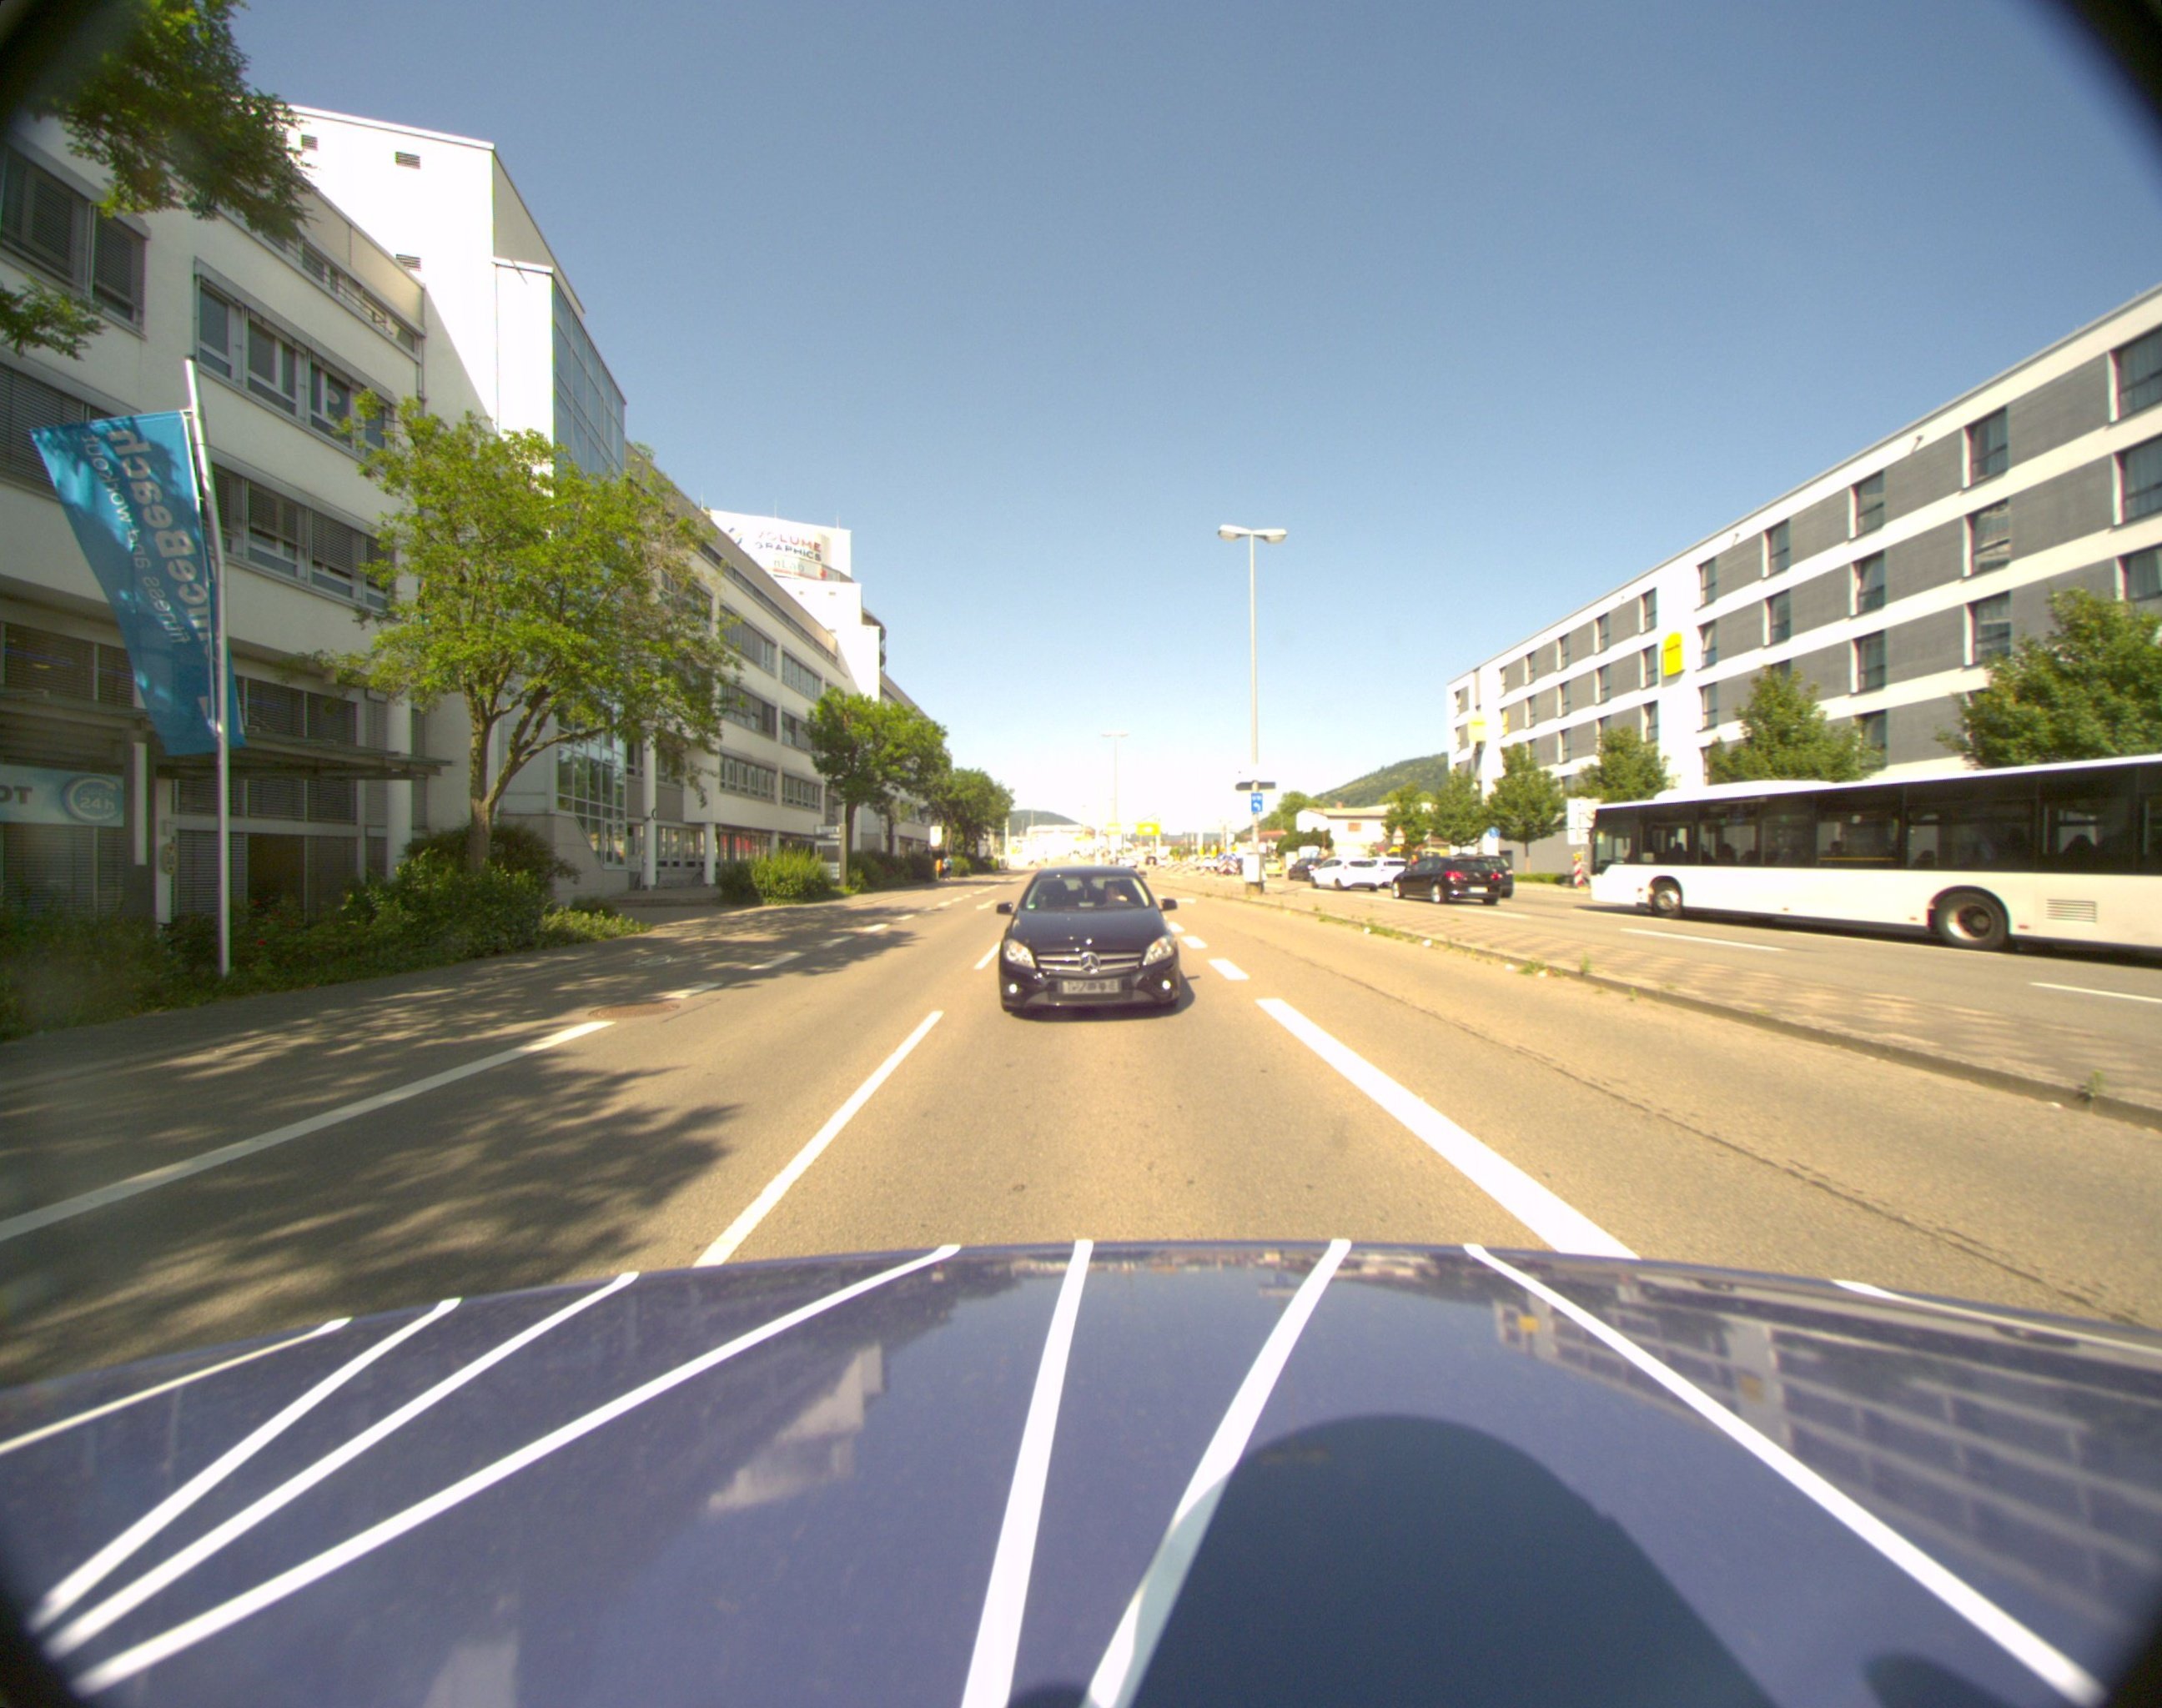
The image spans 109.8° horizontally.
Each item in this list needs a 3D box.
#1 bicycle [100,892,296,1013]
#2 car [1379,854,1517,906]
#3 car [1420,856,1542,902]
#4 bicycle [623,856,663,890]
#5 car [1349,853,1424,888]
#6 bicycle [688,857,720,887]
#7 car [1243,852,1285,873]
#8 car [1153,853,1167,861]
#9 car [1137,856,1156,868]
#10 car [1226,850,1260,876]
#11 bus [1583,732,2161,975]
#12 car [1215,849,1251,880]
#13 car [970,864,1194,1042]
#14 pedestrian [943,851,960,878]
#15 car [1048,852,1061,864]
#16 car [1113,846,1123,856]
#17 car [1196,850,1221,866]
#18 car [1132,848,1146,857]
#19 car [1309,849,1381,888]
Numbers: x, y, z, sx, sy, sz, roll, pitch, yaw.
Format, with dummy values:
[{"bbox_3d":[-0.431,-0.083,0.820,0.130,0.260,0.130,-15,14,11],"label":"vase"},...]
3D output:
[{"bbox_3d":[-11.261,1.190,9.800,0.506,1.321,1.883,0,0,-8],"label":"bicycle"},{"bbox_3d":[11.414,0.751,24.096,1.998,1.424,4.890,-1,0,0],"label":"car"},{"bbox_3d":[14.722,0.852,28.343,1.998,1.514,4.891,-1,0,1],"label":"car"},{"bbox_3d":[-18.054,0.772,31.348,0.506,1.346,1.884,-1,0,1],"label":"bicycle"},{"bbox_3d":[14.402,0.737,36.047,1.858,1.530,3.977,-1,0,-2],"label":"car"},{"bbox_3d":[-17.712,0.819,35.745,0.506,1.346,1.884,-1,0,1],"label":"bicycle"},{"bbox_3d":[13.592,0.599,56.848,1.998,1.514,4.891,-1,0,1],"label":"car"},{"bbox_3d":[13.605,0.498,131.208,1.815,1.328,3.937,-1,0,-3],"label":"car"},{"bbox_3d":[8.759,1.098,101.510,1.999,1.530,3.999,-1,0,-2],"label":"car"},{"bbox_3d":[13.766,0.758,64.672,1.998,2.002,3.999,-2,1,1],"label":"car"},{"bbox_3d":[14.910,-0.010,14.389,2.745,3.061,11.974,1,0,0],"label":"bus"},{"bbox_3d":[10.723,0.721,53.818,1.679,2.002,4.164,-2,1,1],"label":"car"},{"bbox_3d":[0.037,0.885,8.879,1.905,1.431,4.693,-1,0,1],"label":"car"},{"bbox_3d":[-9.160,0.732,53.914,0.942,1.875,1.289,2,1,0],"label":"pedestrian"},{"bbox_3d":[-4.596,0.672,132.168,1.998,2.002,4.000,-2,1,2],"label":"car"},{"bbox_3d":[7.897,-0.616,162.408,1.998,2.002,3.999,-2,1,1],"label":"car"},{"bbox_3d":[14.010,0.451,83.749,1.998,1.702,4.891,-1,0,1],"label":"car"},{"bbox_3d":[11.321,-0.240,149.022,2.000,1.725,3.997,-1,0,-8],"label":"car"},{"bbox_3d":[11.236,0.580,32.582,1.763,1.443,4.000,-2,1,2],"label":"car"}]
